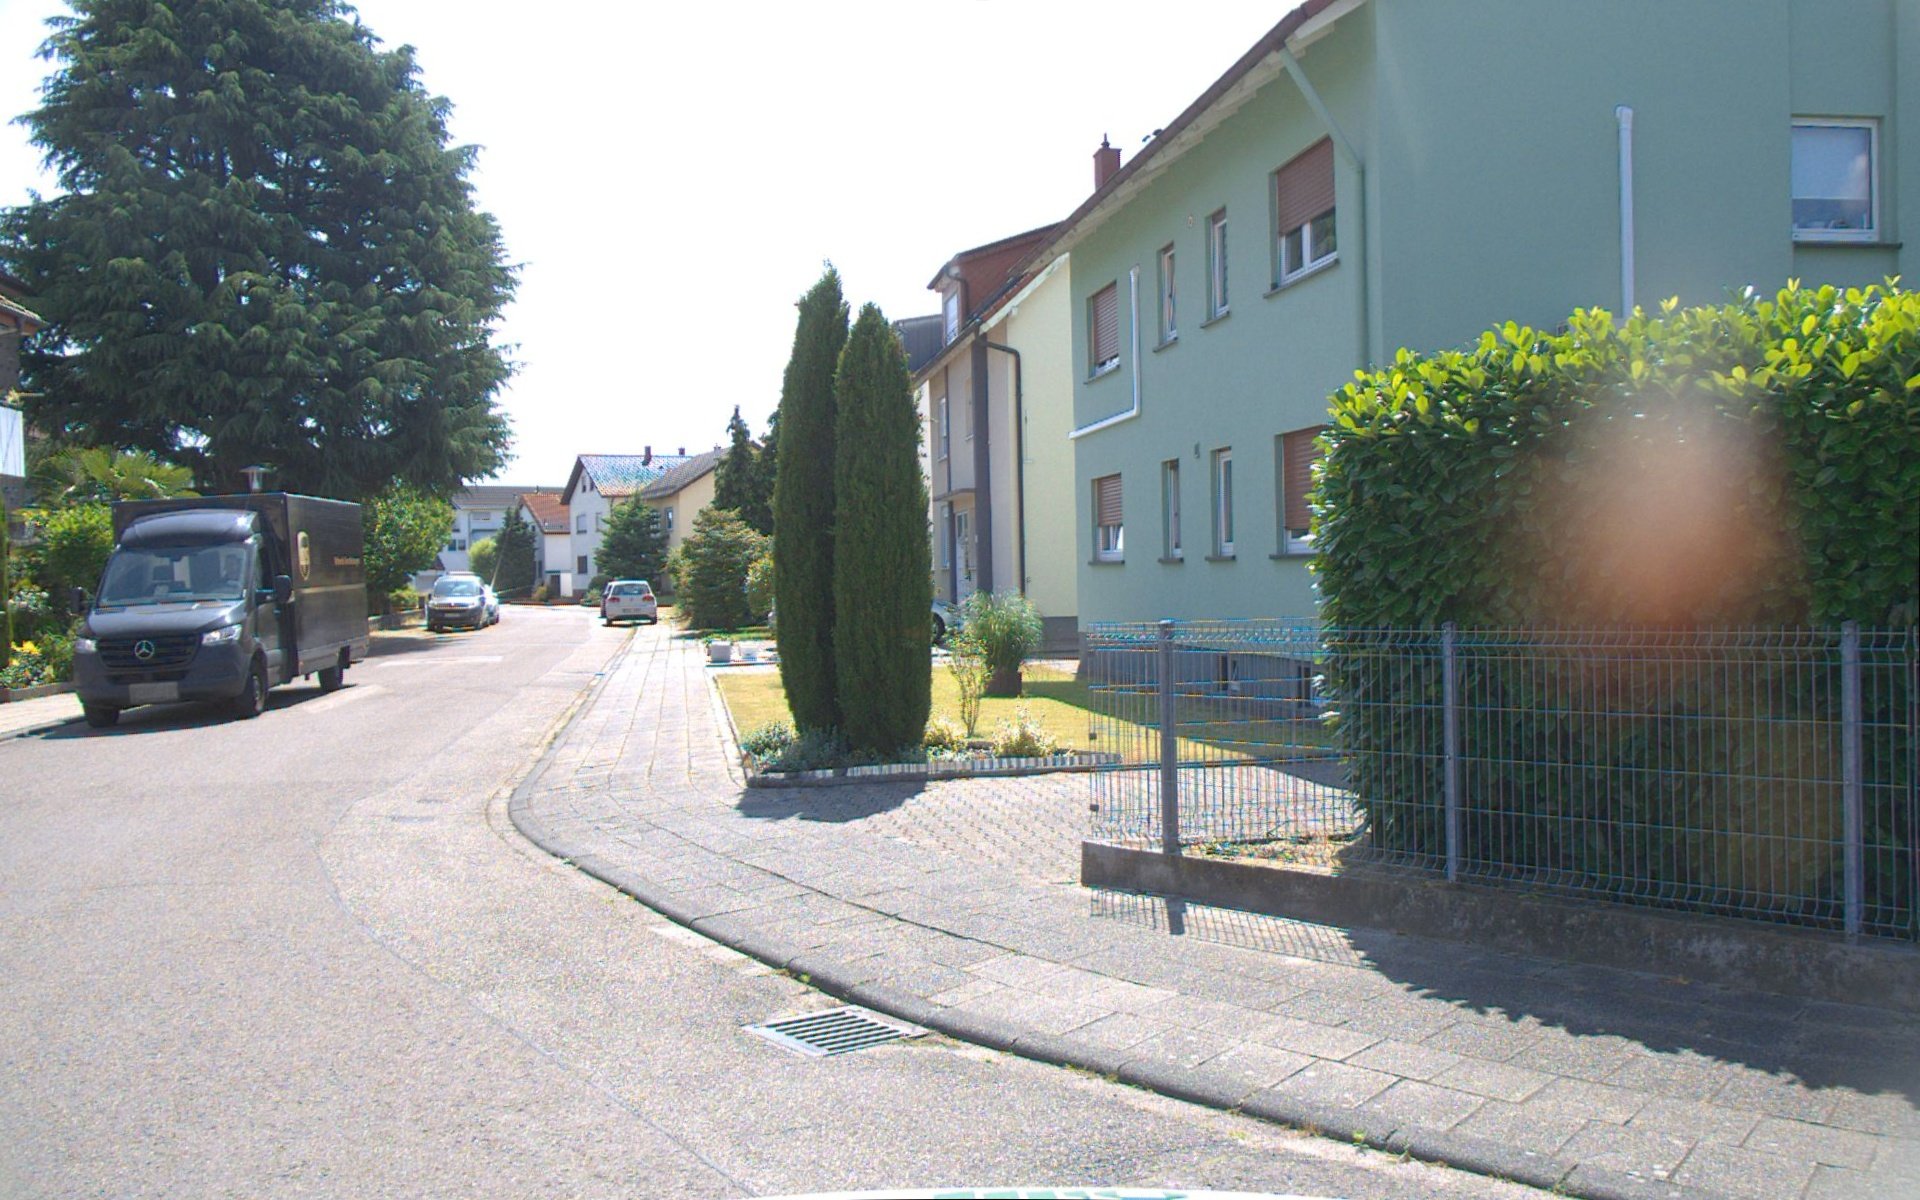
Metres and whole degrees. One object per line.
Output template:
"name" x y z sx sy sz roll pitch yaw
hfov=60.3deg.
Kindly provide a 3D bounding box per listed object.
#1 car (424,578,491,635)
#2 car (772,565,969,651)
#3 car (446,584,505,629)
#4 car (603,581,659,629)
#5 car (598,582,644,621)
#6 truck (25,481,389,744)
"car" -16.903 0.174 55.745 1.777 1.793 4.193 -2 1 -12
"car" -1.865 0.137 34.021 3.842 1.536 1.770 -3 1 -9
"car" -18.002 0.222 61.571 1.777 1.521 3.988 -2 1 -12
"car" -11.422 0.142 57.317 1.777 1.521 3.988 -2 1 -12
"car" -14.332 0.058 69.814 1.777 1.521 3.988 -2 1 -12
"truck" -9.868 0.074 22.611 2.389 2.835 7.284 -5 2 -8
